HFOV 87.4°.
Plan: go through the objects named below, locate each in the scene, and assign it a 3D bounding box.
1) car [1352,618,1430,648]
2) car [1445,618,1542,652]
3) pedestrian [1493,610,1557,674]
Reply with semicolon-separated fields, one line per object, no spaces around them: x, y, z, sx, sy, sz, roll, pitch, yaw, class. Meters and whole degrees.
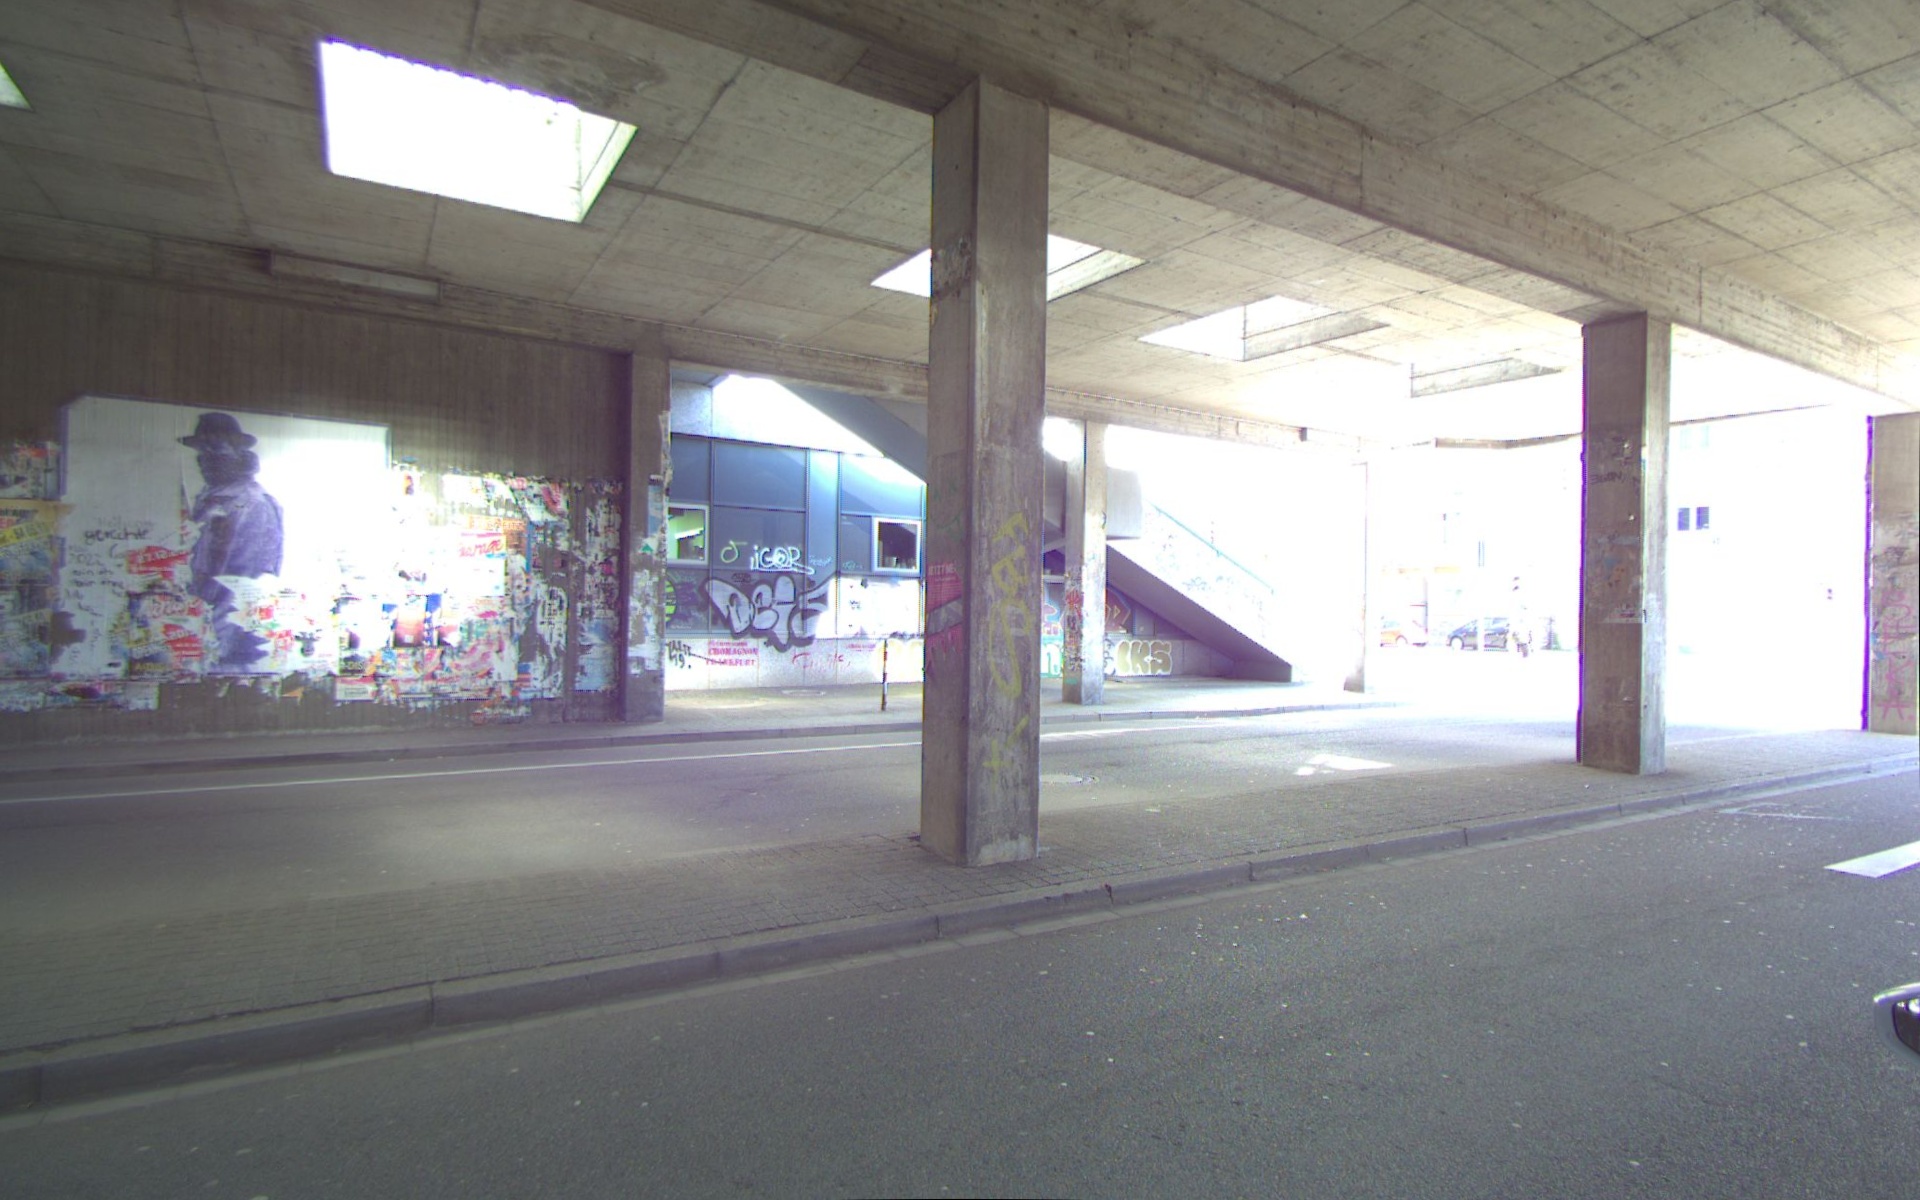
22.470;1.705;52.462;1.543;1.526;3.518;1;-1;-29;car
25.359;1.659;47.849;1.732;1.528;3.735;1;-1;-31;car
15.939;1.164;28.342;1.123;1.760;1.111;1;-1;-17;pedestrian
